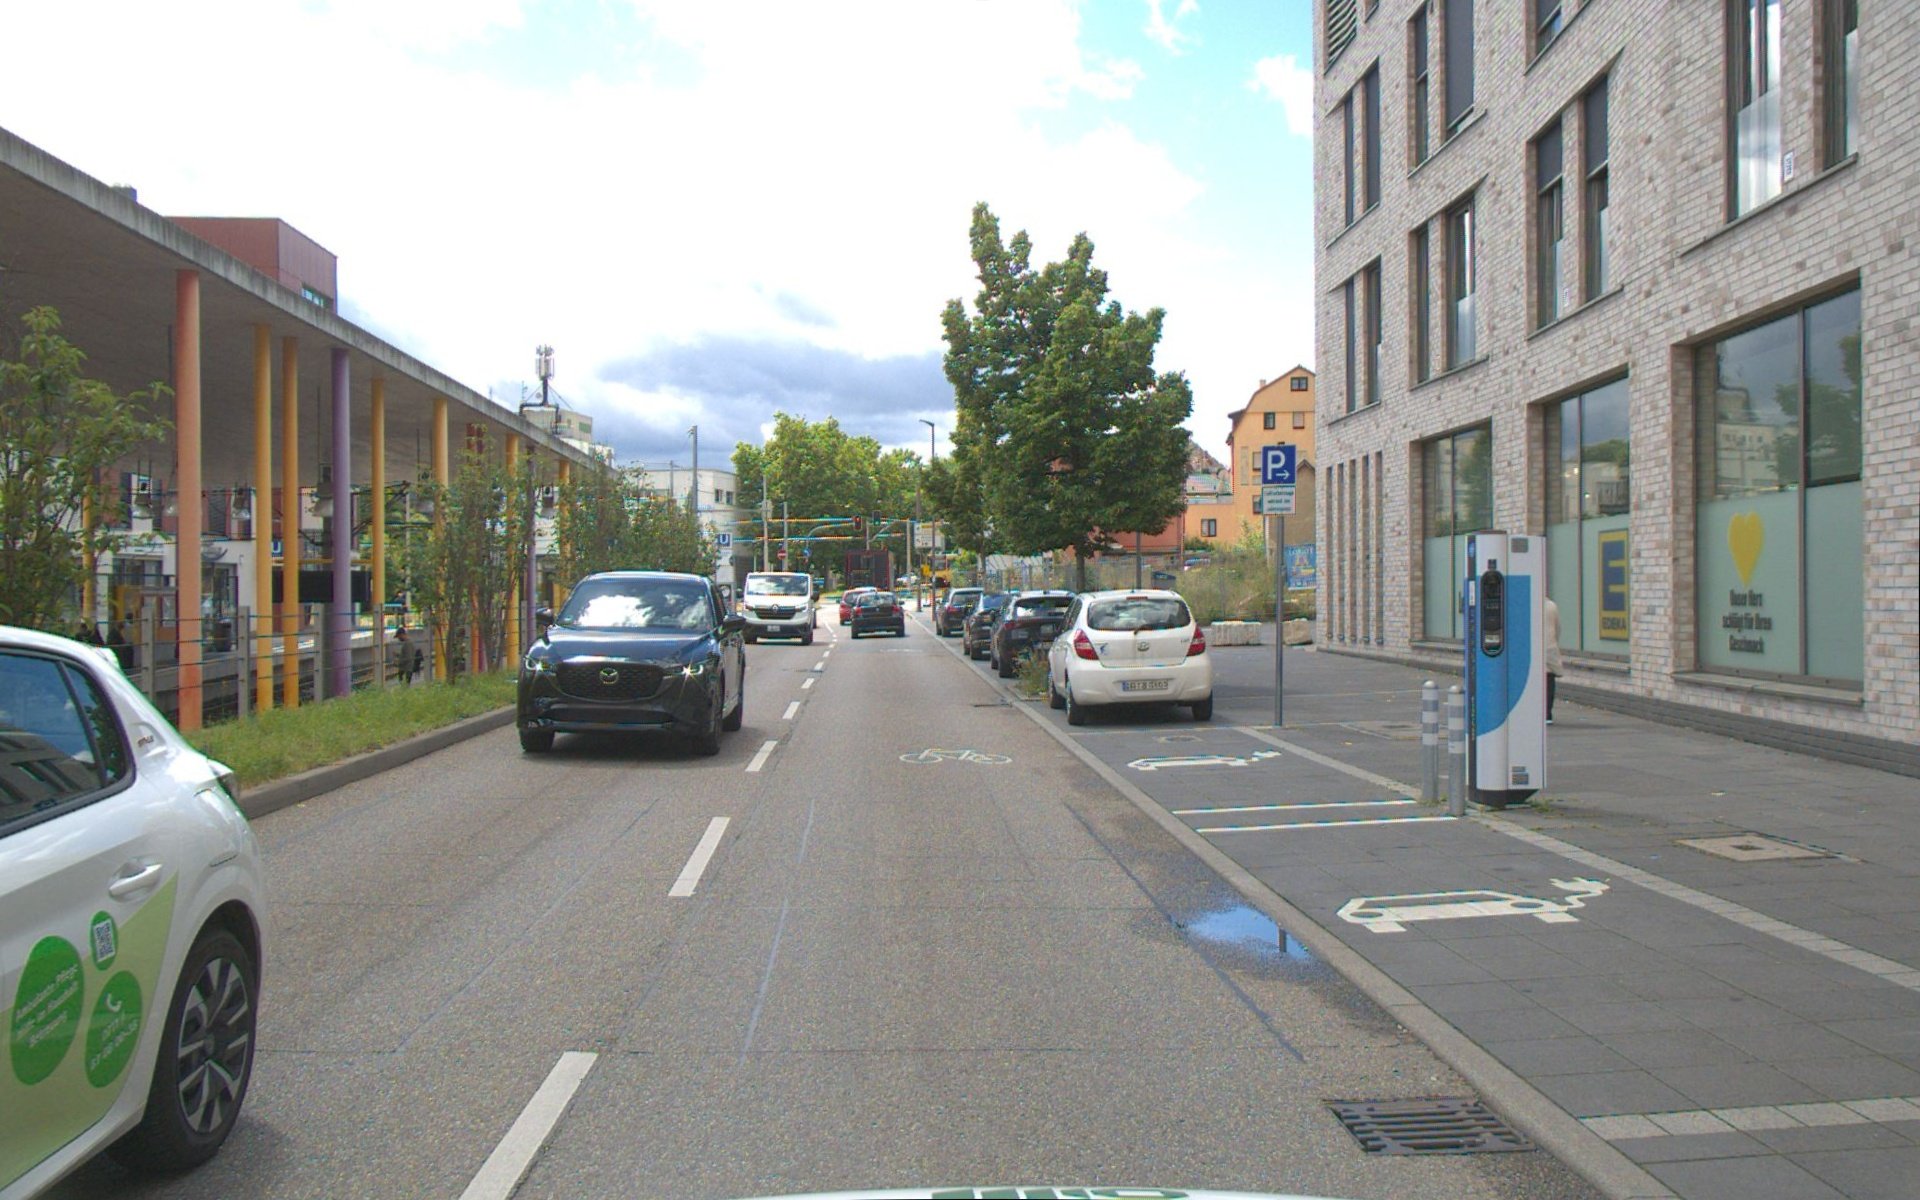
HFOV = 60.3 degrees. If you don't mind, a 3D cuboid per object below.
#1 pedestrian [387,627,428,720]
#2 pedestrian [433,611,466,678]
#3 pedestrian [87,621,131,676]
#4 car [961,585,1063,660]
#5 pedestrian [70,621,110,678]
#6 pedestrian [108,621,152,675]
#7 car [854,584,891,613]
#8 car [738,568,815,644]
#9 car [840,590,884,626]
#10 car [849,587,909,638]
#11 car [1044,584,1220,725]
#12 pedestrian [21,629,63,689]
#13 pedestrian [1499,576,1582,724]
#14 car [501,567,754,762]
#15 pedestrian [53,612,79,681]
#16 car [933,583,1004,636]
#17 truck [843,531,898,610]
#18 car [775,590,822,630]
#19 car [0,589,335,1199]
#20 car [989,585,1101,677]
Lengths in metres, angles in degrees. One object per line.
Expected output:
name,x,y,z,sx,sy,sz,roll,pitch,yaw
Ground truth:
pedestrian,-11.220,1.476,33.589,0.575,1.862,0.710,1,-2,-1
pedestrian,-12.750,1.098,41.332,0.617,1.642,0.636,1,1,-2
pedestrian,-22.067,1.253,42.898,0.806,1.403,0.702,1,1,-2
car,1.061,0.451,36.224,1.828,1.476,4.641,-2,0,-3
pedestrian,-22.085,1.256,41.989,0.638,1.403,0.702,1,1,-2
pedestrian,-22.036,1.273,43.920,0.806,1.403,0.702,1,1,-2
car,-4.680,-0.055,88.787,1.850,1.491,4.067,-2,0,-2
car,-5.040,0.152,45.680,1.965,1.951,5.058,1,0,-6
car,-4.204,0.308,70.616,1.679,1.417,3.804,-1,1,-6
car,-2.640,0.370,53.100,1.693,1.482,3.804,-1,1,-6
car,2.009,0.594,20.306,1.658,1.509,3.797,-2,0,-1
pedestrian,-22.149,1.426,39.927,0.638,1.403,0.702,1,1,-2
pedestrian,6.036,0.504,17.228,0.594,1.498,0.791,-2,0,5
car,-3.083,0.540,16.229,1.882,1.633,4.622,1,0,-5
pedestrian,-24.561,1.279,45.454,0.473,1.852,0.491,1,1,-6
car,0.214,0.259,50.865,1.747,1.477,4.472,-2,1,-5
truck,-5.496,-1.740,102.960,3.138,4.615,9.025,0,-1,-1
car,-6.668,0.385,68.075,1.692,1.548,4.246,1,0,-9
car,-2.672,0.722,2.882,1.775,1.494,3.906,1,0,-2
car,1.455,0.504,29.737,1.658,1.486,4.145,-2,0,-1
